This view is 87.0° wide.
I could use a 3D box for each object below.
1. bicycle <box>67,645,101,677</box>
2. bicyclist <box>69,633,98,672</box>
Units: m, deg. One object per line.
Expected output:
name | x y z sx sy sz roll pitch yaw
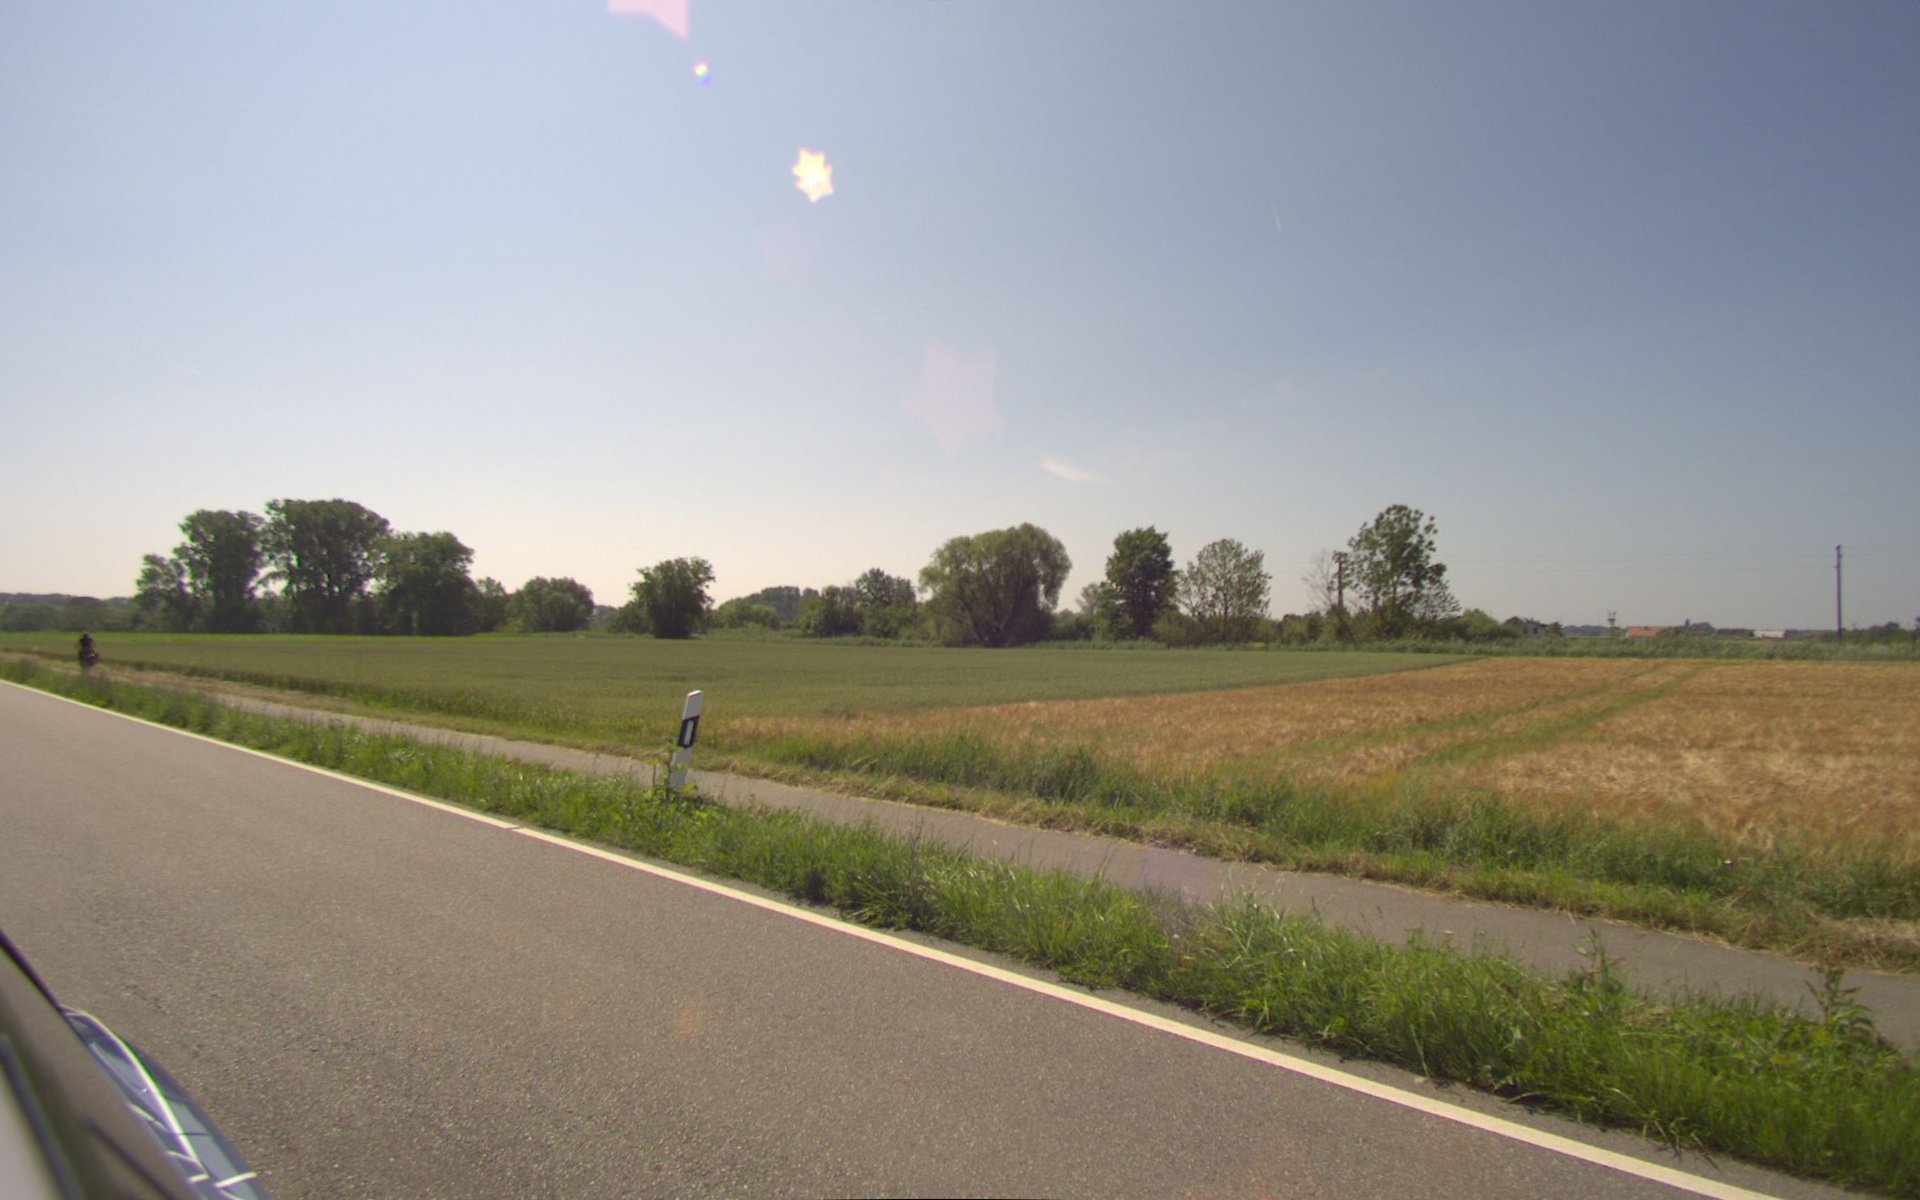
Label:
bicycle | -34.356 2.373 39.674 2.082 1.180 0.733 -1 -2 42
bicyclist | -34.388 2.059 39.701 1.003 1.508 0.733 -2 -3 42
